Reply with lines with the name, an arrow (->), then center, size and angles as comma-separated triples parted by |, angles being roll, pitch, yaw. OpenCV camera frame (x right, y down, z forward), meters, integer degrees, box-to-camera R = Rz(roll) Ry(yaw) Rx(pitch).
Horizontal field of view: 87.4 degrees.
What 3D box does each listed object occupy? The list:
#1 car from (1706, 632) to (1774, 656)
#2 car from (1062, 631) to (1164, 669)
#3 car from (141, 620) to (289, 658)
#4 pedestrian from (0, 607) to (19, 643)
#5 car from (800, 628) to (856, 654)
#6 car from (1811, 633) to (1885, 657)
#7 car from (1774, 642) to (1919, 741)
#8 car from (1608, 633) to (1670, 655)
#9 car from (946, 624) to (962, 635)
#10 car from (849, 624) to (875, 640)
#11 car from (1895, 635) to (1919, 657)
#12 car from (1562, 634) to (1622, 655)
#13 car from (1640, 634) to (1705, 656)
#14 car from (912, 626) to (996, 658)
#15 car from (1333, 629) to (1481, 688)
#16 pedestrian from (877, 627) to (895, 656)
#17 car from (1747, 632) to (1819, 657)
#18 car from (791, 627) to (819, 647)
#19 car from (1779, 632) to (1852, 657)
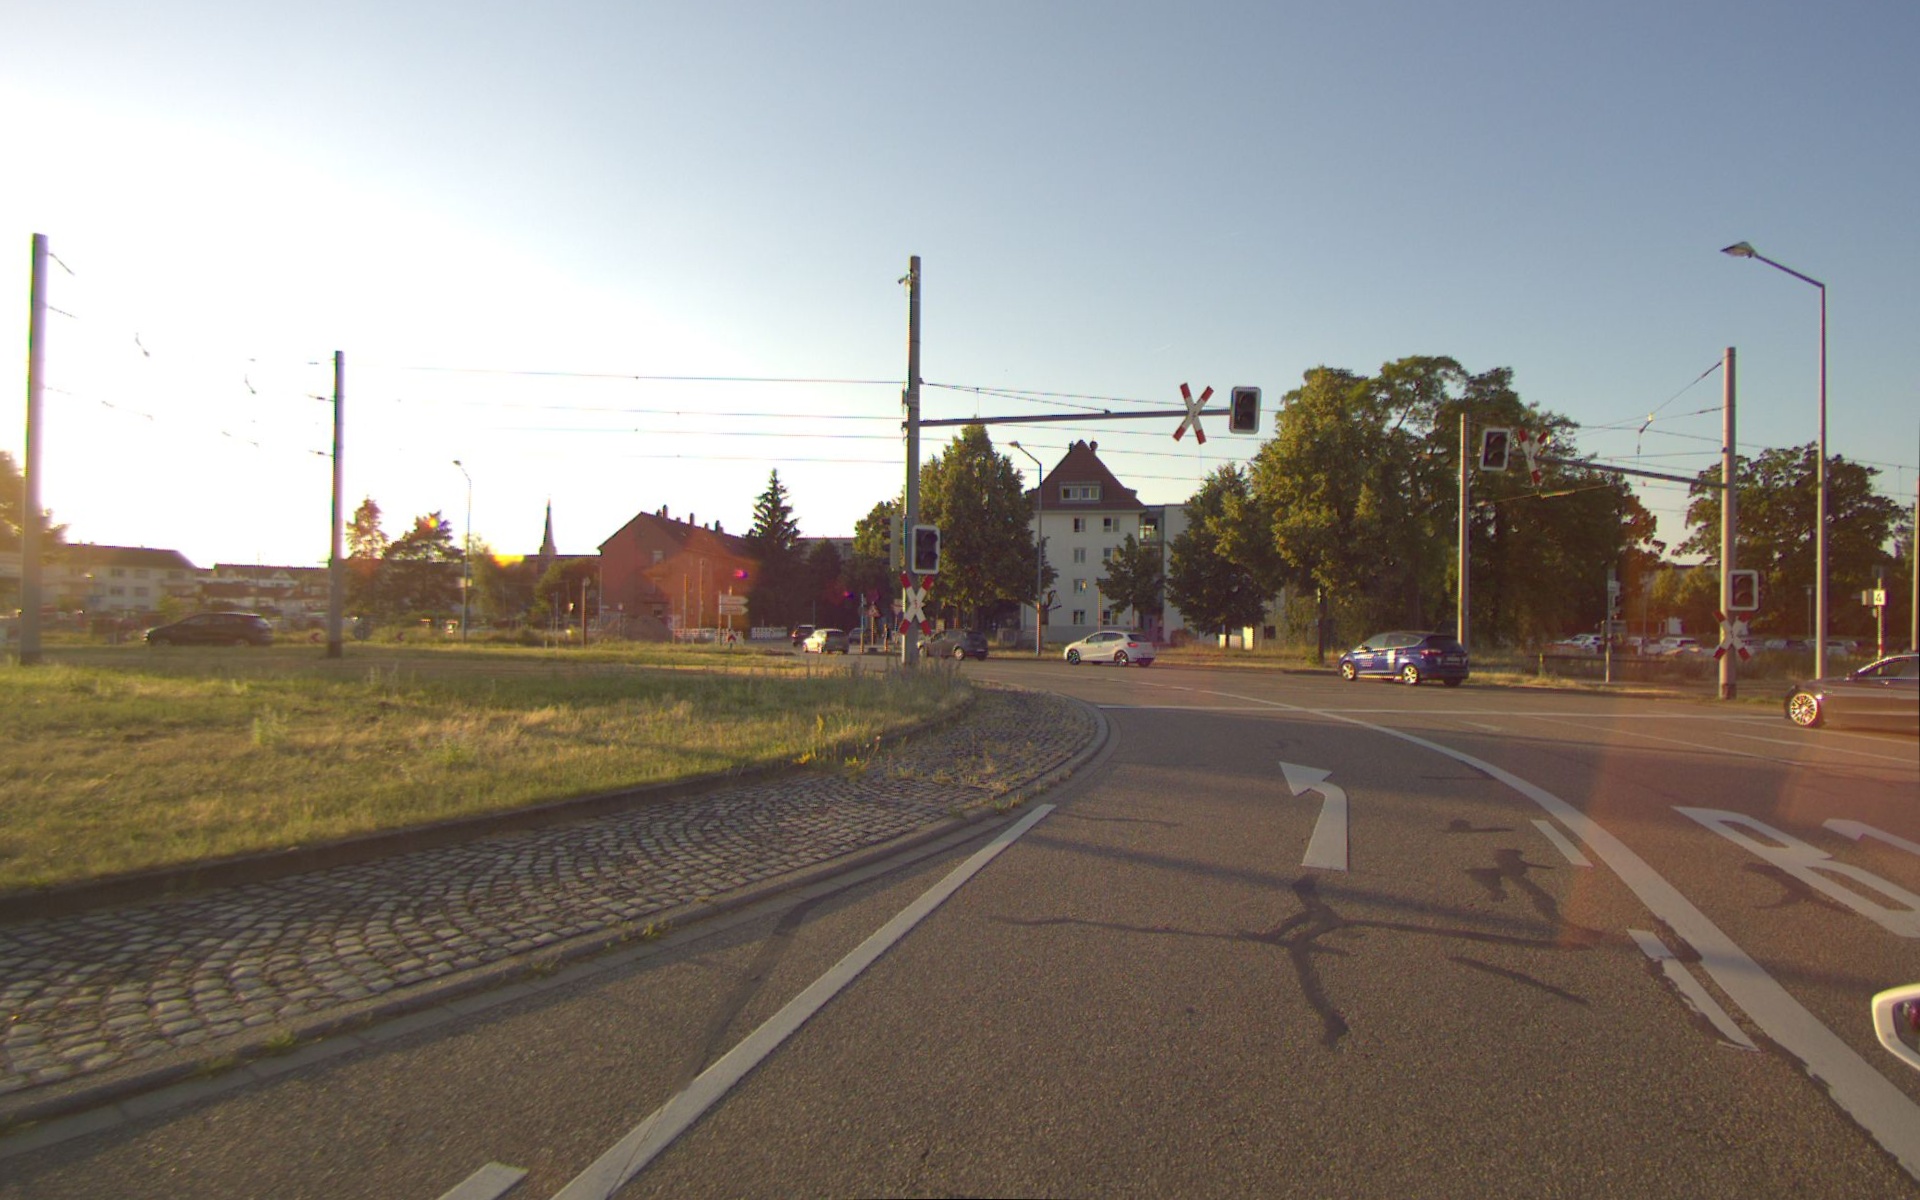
car -> 55.847, 3.131, 72.015 | 1.914, 1.684, 4.002 | 1, -2, 3
car -> 6.315, 2.031, 41.798 | 1.870, 1.420, 3.865 | 2, -1, -44
car -> -29.226, 1.523, 39.581 | 4.255, 1.451, 1.936 | 1, -1, -20
pedestrian -> -49.159, 1.270, 51.589 | 1.153, 1.851, 0.968 | 2, -2, -42
car -> -7.748, 2.382, 58.777 | 1.860, 1.420, 3.884 | 1, -1, -31
car -> 62.839, 3.162, 71.176 | 1.865, 1.574, 4.002 | 1, -2, 3
car -> 15.736, 1.487, 16.128 | 1.918, 1.446, 4.432 | 2, -1, 4
car -> 48.606, 3.123, 71.992 | 1.914, 1.464, 4.002 | 1, -2, 3
car -> -0.800, 3.997, 137.311 | 1.844, 1.420, 3.919 | 1, -1, 6
car -> -9.316, 3.020, 95.554 | 1.844, 1.420, 3.918 | 1, -1, 3
car -> 67.888, 3.218, 69.903 | 1.865, 1.574, 4.101 | 1, -2, 3
car -> 45.660, 3.186, 72.641 | 1.914, 1.464, 4.002 | 1, -2, 3
car -> 50.737, 3.207, 71.647 | 1.914, 1.464, 4.002 | 1, -2, 3
car -> -0.305, 1.987, 48.360 | 3.862, 1.420, 1.871 | 0, -1, 44
car -> 13.621, 1.757, 30.865 | 1.927, 1.623, 4.061 | 2, -2, -18
pedestrian -> -4.433, 2.453, 60.001 | 0.869, 1.708, 0.847 | 1, -1, 8
car -> 58.220, 3.101, 71.160 | 1.914, 1.684, 4.002 | 1, -2, 3
car -> -11.832, 2.840, 77.003 | 1.846, 1.420, 3.913 | 1, -1, -5
car -> 60.397, 3.131, 71.006 | 1.914, 1.684, 4.002 | 1, -2, 3
